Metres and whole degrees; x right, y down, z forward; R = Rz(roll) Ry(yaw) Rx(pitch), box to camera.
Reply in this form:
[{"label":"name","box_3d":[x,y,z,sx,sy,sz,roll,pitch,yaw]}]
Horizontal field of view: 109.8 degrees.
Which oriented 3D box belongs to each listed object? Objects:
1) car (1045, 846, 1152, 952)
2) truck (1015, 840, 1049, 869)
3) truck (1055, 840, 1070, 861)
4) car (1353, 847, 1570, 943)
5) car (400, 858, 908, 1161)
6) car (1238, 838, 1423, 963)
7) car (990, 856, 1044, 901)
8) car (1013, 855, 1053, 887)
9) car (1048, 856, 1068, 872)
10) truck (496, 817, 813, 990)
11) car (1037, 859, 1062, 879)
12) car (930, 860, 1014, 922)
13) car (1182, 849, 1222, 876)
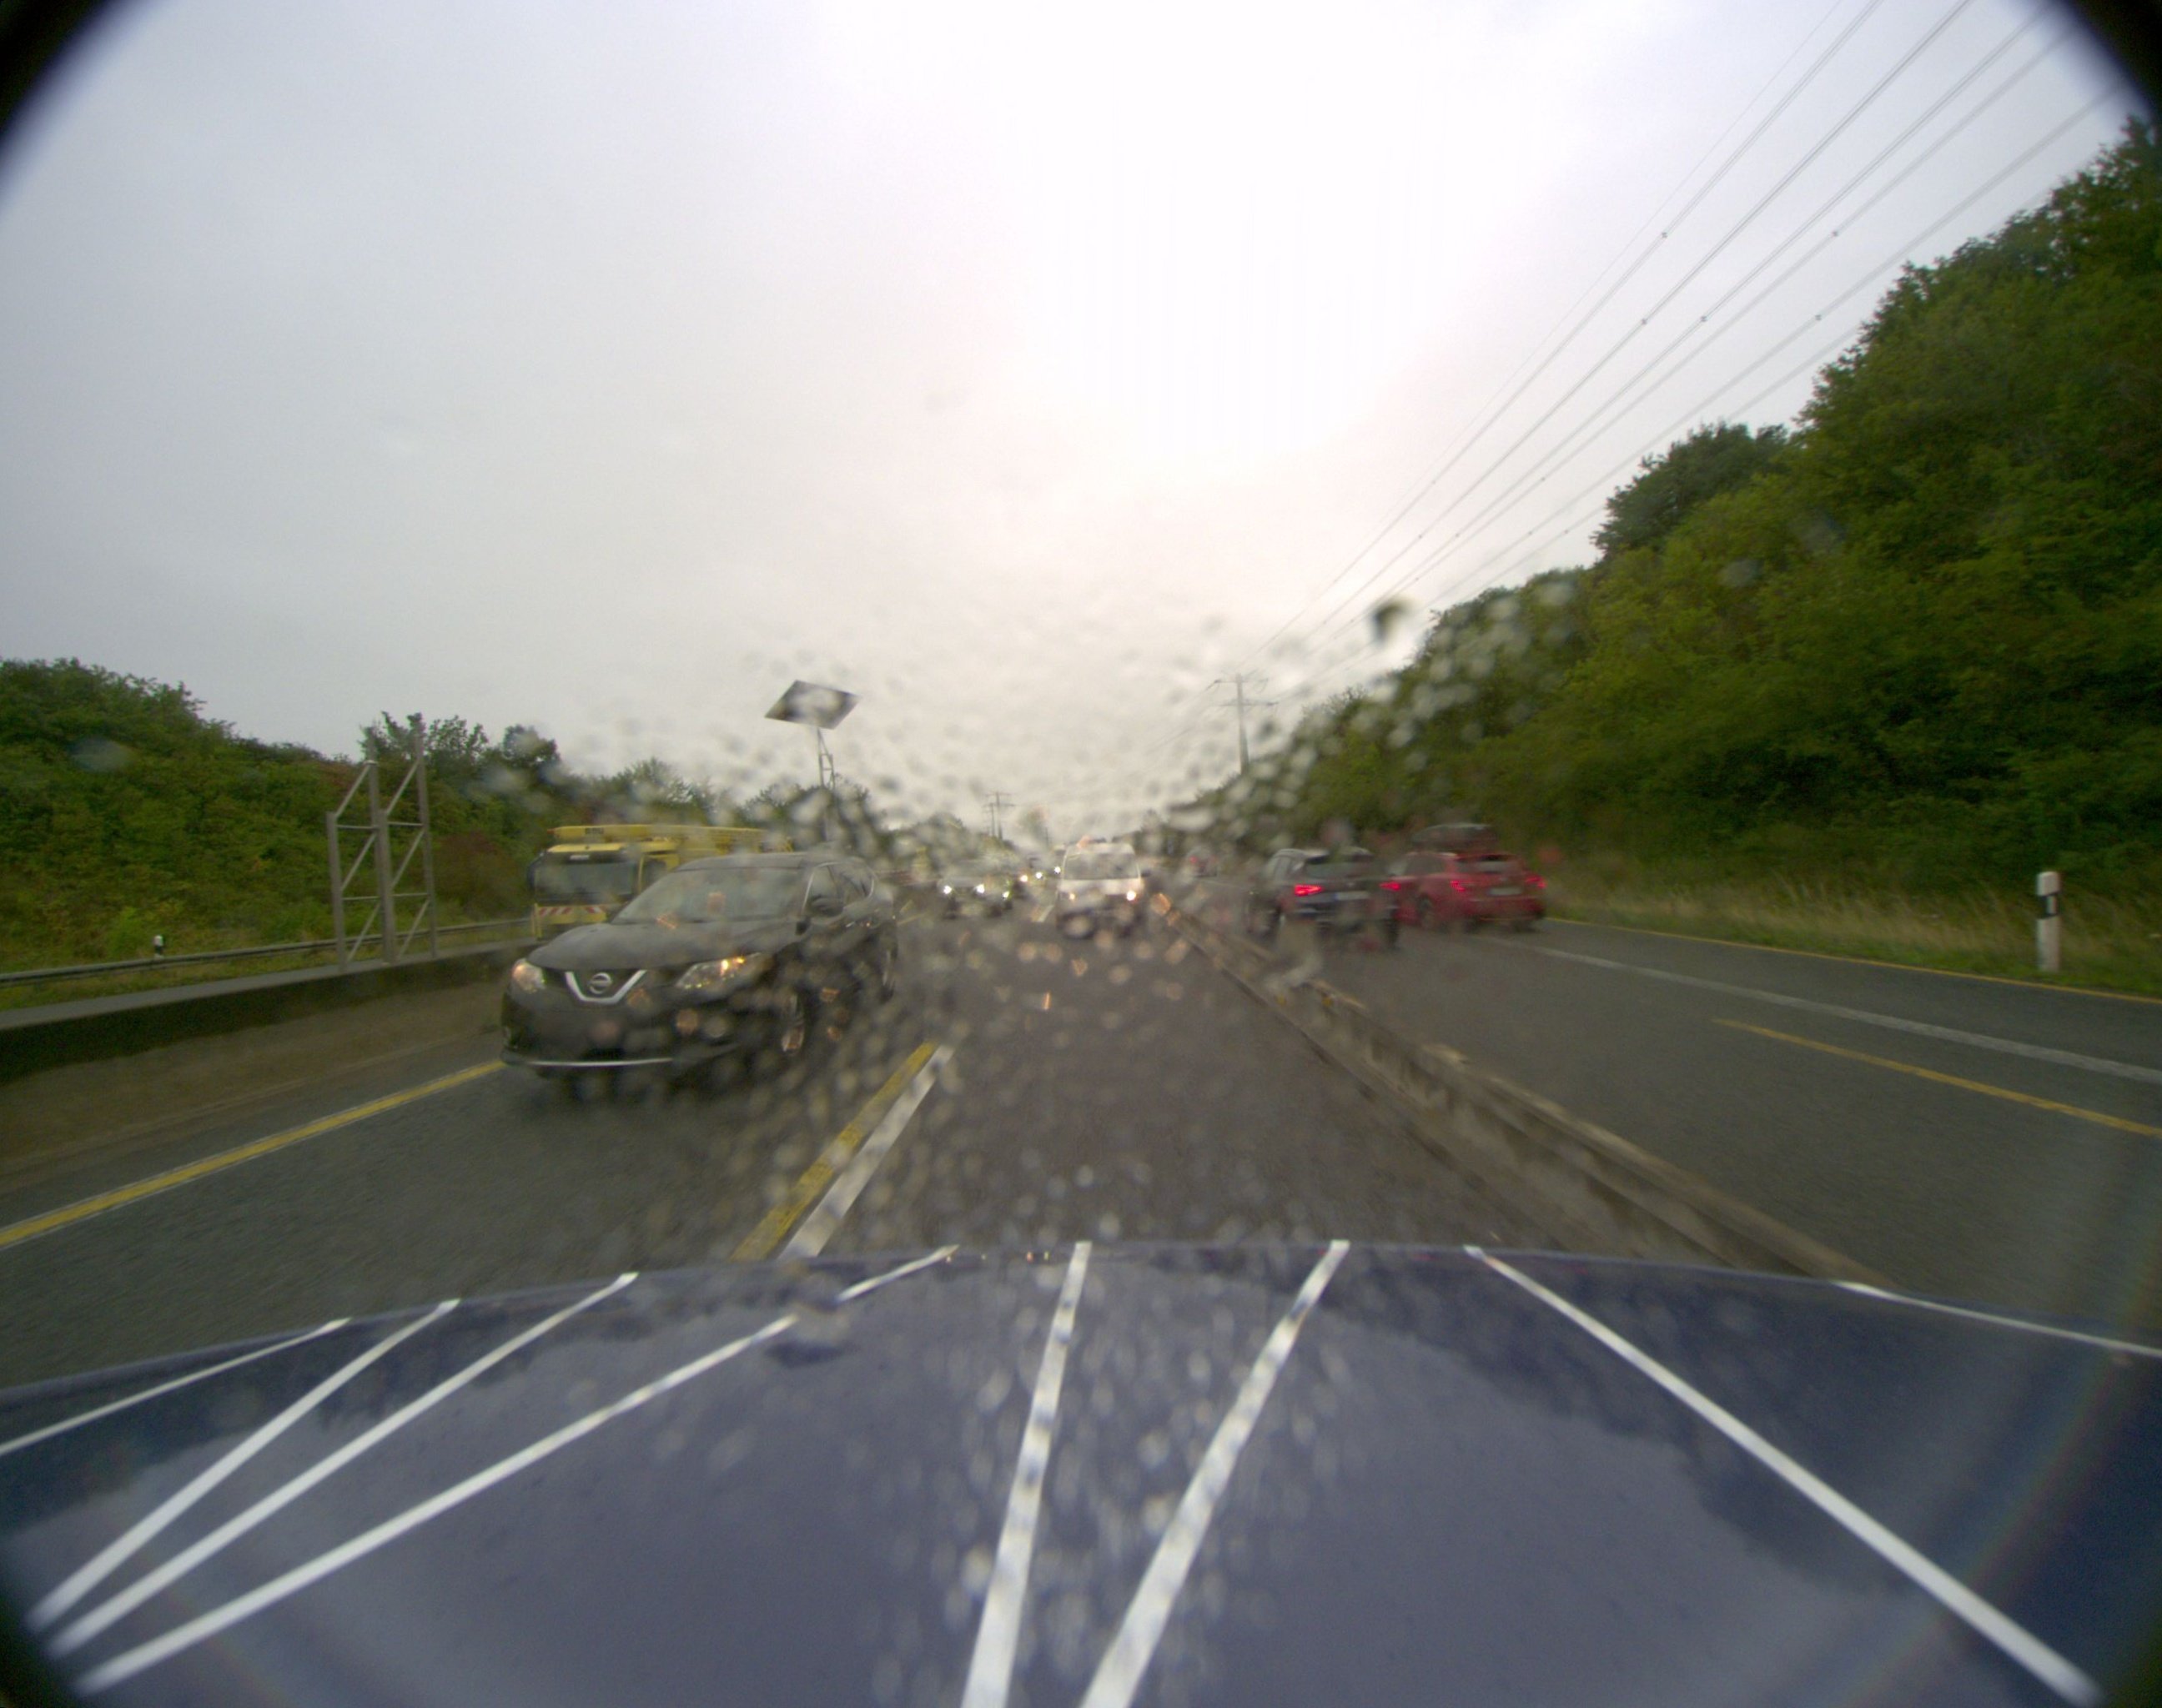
[{"label":"car","box_3d":[0.340,0.759,15.512,1.784,1.775,4.697,-2,1,1]},{"label":"truck","box_3d":[-6.457,0.049,98.137,2.622,3.404,9.563,-2,1,-14]},{"label":"truck","box_3d":[-3.501,-0.725,145.676,2.619,3.868,9.574,-2,1,0]},{"label":"car","box_3d":[6.820,0.630,14.255,1.778,1.442,4.448,-2,1,0]},{"label":"car","box_3d":[-3.050,0.936,6.821,1.894,1.665,4.640,-2,1,0]},{"label":"car","box_3d":[3.884,0.632,12.586,1.766,1.674,4.000,-2,1,1]},{"label":"car","box_3d":[-2.515,0.912,30.706,1.784,1.589,4.123,-2,1,0]},{"label":"car","box_3d":[-2.463,0.870,39.950,1.784,1.482,4.123,-2,1,0]},{"label":"car","box_3d":[-2.234,0.949,74.136,1.784,1.482,4.123,-2,1,0]},{"label":"truck","box_3d":[-10.318,0.957,20.159,2.619,3.404,9.575,-2,1,2]},{"label":"car","box_3d":[-2.520,1.173,61.639,1.784,1.482,4.123,-2,1,0]},{"label":"car","box_3d":[-3.008,0.980,21.776,1.784,1.482,4.123,-2,1,0]},{"label":"car","box_3d":[7.689,0.487,48.586,1.875,1.593,4.000,-2,1,1]}]
